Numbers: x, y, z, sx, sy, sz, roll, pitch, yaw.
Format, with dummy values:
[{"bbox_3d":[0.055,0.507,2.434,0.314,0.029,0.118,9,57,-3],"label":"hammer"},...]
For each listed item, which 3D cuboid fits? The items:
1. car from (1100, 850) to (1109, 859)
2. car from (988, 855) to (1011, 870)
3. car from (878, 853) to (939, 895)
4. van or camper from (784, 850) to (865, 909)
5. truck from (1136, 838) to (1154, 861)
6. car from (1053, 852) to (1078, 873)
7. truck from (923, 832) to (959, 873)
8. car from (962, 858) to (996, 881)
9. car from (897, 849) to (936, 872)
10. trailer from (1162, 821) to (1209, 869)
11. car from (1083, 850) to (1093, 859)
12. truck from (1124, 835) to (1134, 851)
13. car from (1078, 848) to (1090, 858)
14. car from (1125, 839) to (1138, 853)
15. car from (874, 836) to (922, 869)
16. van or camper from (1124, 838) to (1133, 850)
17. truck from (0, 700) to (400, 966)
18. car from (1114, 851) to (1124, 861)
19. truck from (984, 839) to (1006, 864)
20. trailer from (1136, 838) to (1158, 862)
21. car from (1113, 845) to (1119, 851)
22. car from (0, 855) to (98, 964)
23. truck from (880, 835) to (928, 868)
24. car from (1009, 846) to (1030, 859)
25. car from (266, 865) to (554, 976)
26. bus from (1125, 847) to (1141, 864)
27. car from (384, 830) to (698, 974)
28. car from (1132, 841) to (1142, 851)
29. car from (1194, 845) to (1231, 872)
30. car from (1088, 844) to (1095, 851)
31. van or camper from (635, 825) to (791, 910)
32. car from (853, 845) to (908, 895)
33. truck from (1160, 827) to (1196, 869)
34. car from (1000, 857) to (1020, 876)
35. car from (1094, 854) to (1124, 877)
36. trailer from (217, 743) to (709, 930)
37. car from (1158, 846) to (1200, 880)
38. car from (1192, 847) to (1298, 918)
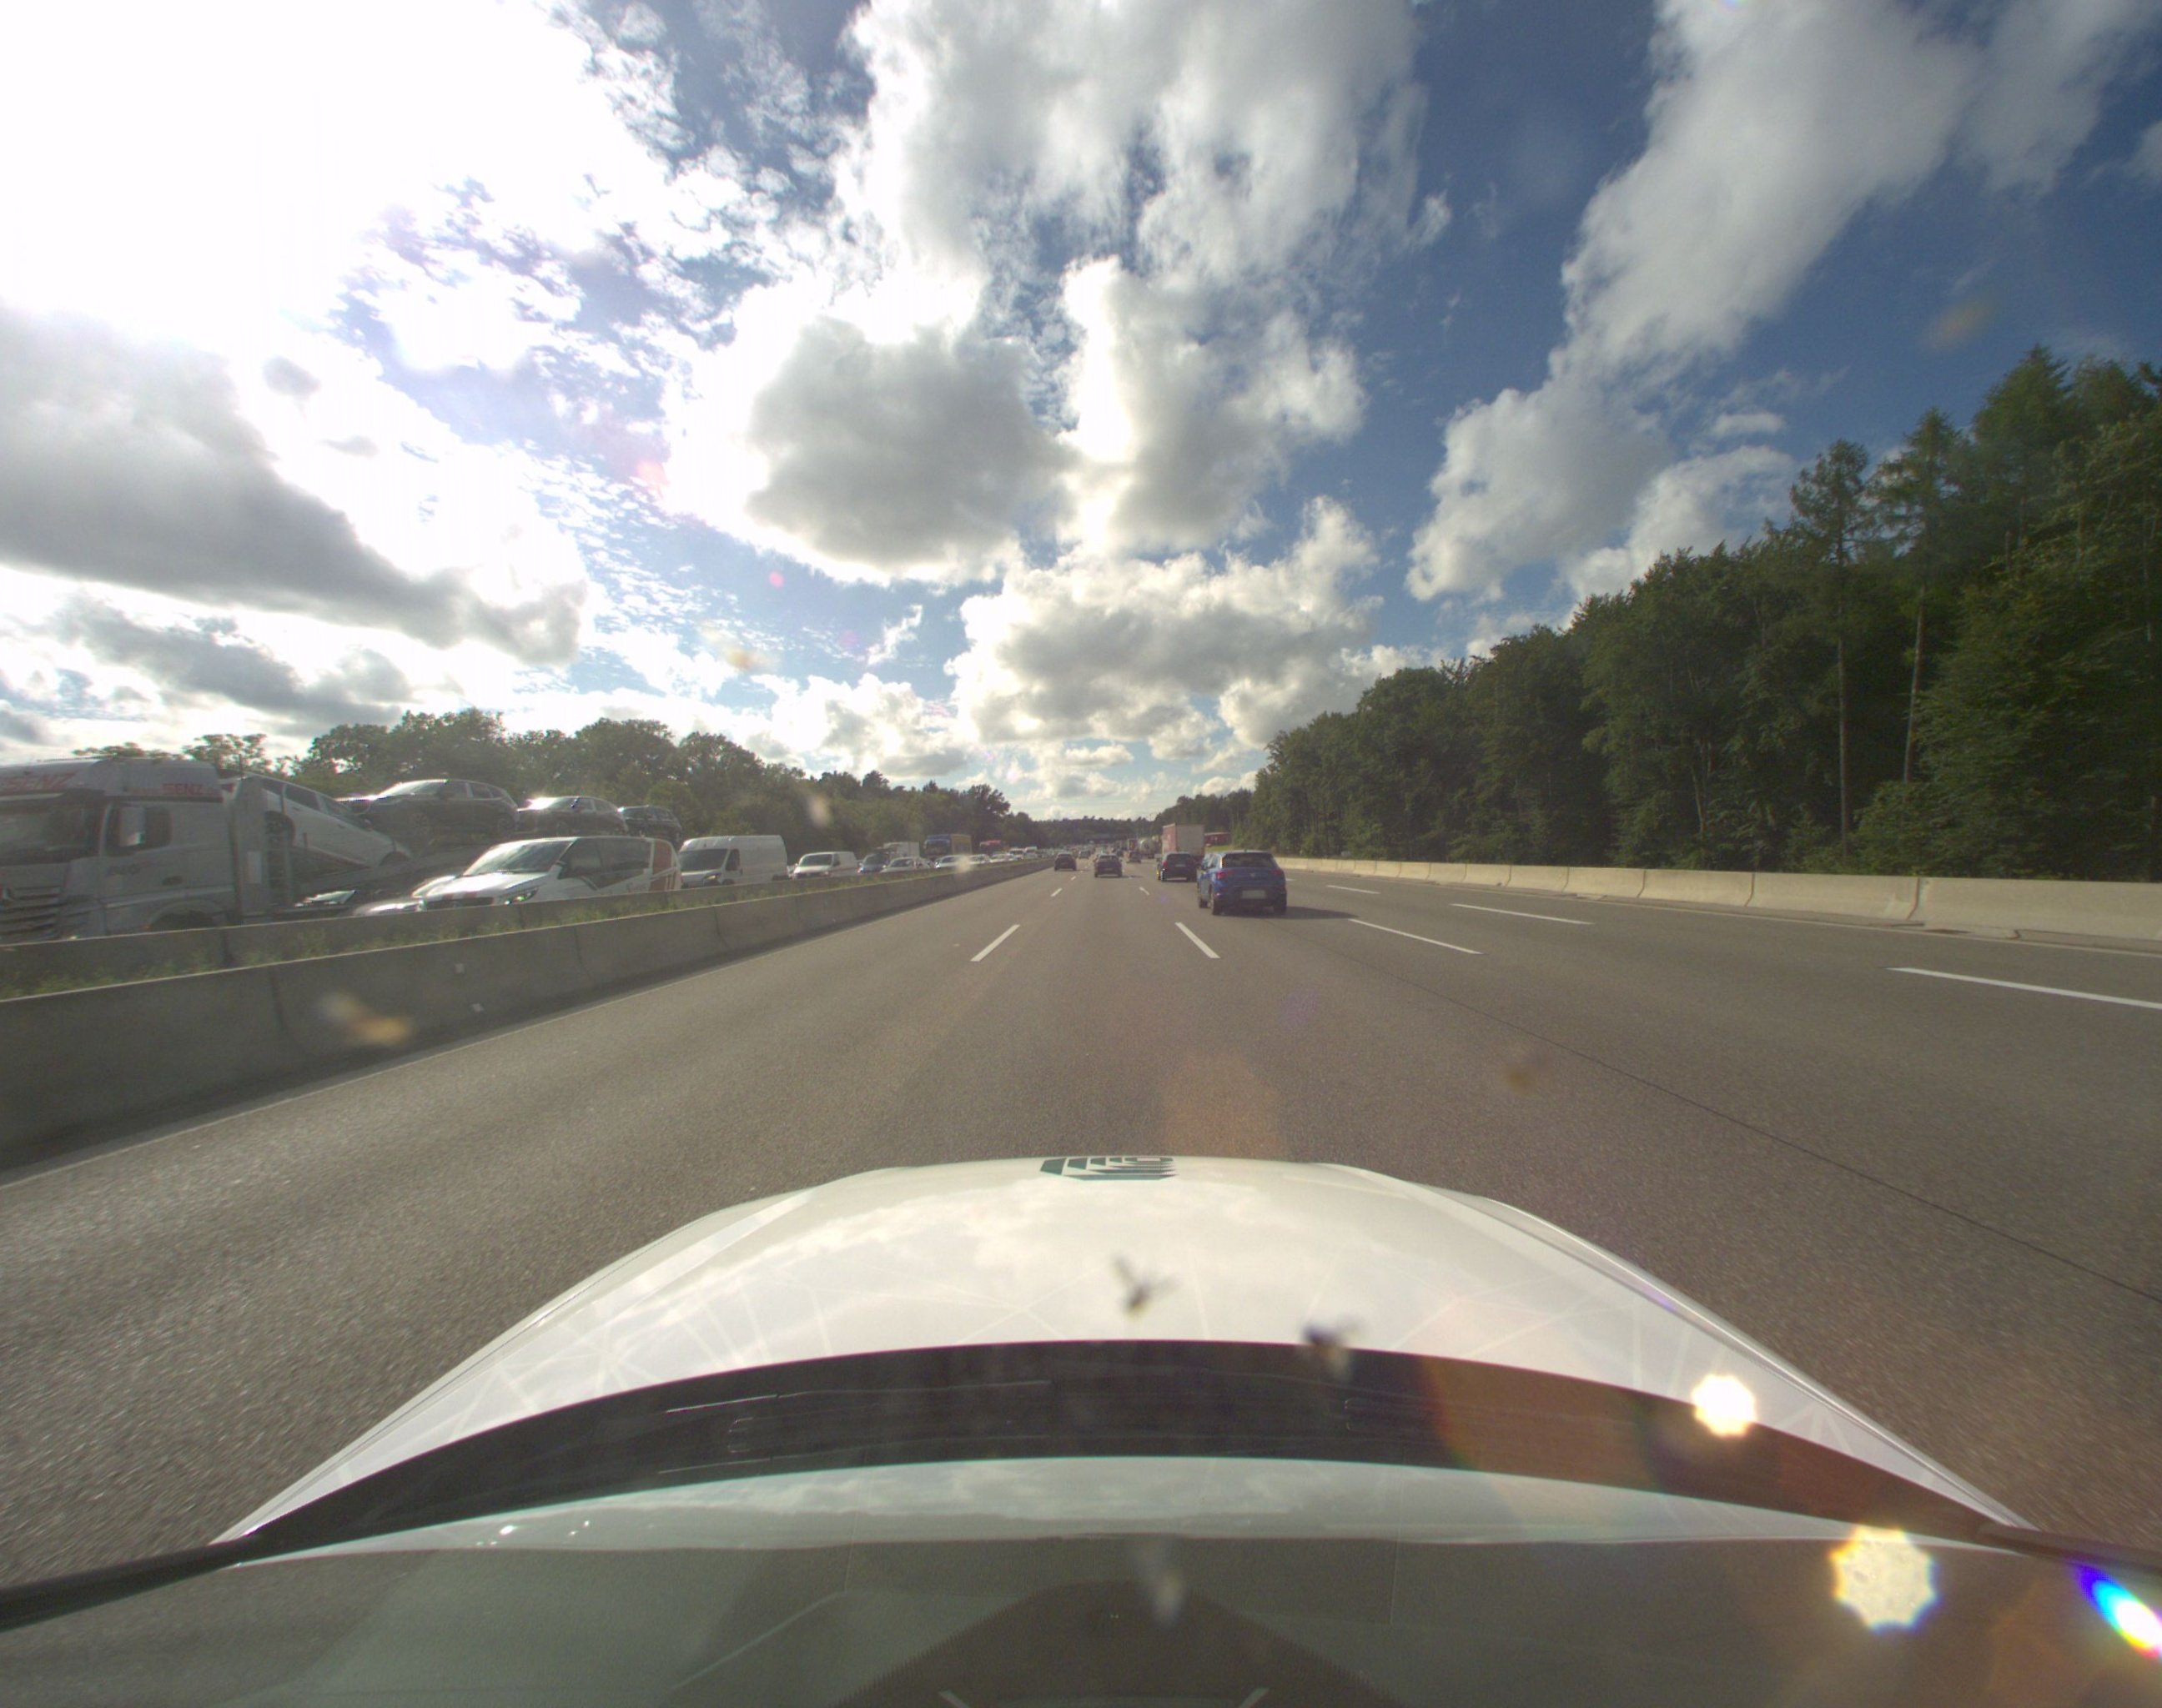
[{"bbox_3d":[5.468,0.065,187.338,1.986,2.014,4.001,-2,-1,1],"label":"car"},{"bbox_3d":[-7.731,0.797,77.264,1.751,1.377,4.000,-1,0,1],"label":"car"},{"bbox_3d":[-8.768,1.011,41.825,1.986,2.014,4.411,-2,-1,2],"label":"car"},{"bbox_3d":[-12.715,1.235,40.790,2.037,2.711,5.753,-1,-1,2],"label":"van or camper"},{"bbox_3d":[11.907,-0.720,152.636,3.034,4.160,7.129,-1,0,2],"label":"truck"},{"bbox_3d":[-1.363,0.759,72.459,1.986,1.776,4.002,-1,0,2],"label":"car"},{"bbox_3d":[-14.938,-0.118,87.347,2.726,4.148,5.617,-1,-1,1],"label":"truck"},{"bbox_3d":[-7.943,1.169,63.917,1.986,1.743,4.296,0,0,1],"label":"car"},{"bbox_3d":[-12.205,0.473,60.770,1.793,1.632,4.664,1,0,2],"label":"car"},{"bbox_3d":[9.657,-0.662,76.836,3.027,4.035,13.893,-1,-1,1],"label":"trailer"},{"bbox_3d":[1.623,0.098,187.305,1.986,2.013,4.001,-1,0,1],"label":"car"},{"bbox_3d":[12.169,-2.781,206.926,2.348,3.572,11.273,-1,-1,3],"label":"truck"},{"bbox_3d":[0.508,-0.225,154.538,2.146,1.776,4.002,0,0,2],"label":"car"},{"bbox_3d":[11.799,-1.878,190.000,2.855,2.991,5.152,-1,-1,3],"label":"car"},{"bbox_3d":[-11.797,-0.033,52.839,1.987,2.014,4.657,-1,-1,1],"label":"car"},{"bbox_3d":[12.504,-2.601,213.938,2.342,3.144,5.714,-1,-1,3],"label":"van or camper"},{"bbox_3d":[-17.122,-0.331,15.853,2.843,4.234,5.714,0,0,1],"label":"truck"},{"bbox_3d":[7.945,0.417,171.456,1.986,2.014,4.001,0,0,1],"label":"car"},{"bbox_3d":[-13.960,-0.350,132.695,2.766,3.938,6.853,-1,0,0],"label":"truck"},{"bbox_3d":[11.737,-0.693,145.371,3.025,4.016,12.247,-1,-1,1],"label":"trailer"},{"bbox_3d":[10.779,-1.856,250.602,1.986,2.013,4.001,0,0,1],"label":"car"},{"bbox_3d":[-13.191,0.633,7.855,1.825,1.230,4.567,-1,0,1],"label":"car"},{"bbox_3d":[-15.770,-0.238,73.084,2.320,2.801,7.951,0,0,1],"label":"truck"},{"bbox_3d":[-7.023,-0.143,93.162,1.843,1.354,5.488,-1,-1,1],"label":"car"},{"bbox_3d":[-13.414,1.209,16.773,1.904,1.876,4.698,-1,0,2],"label":"car"},{"bbox_3d":[6.640,0.212,104.219,1.986,2.014,4.001,-1,-1,2],"label":"bus"},{"bbox_3d":[-9.254,0.758,14.724,1.986,2.100,5.280,-1,-1,2],"label":"car"},{"bbox_3d":[12.334,-1.822,180.003,1.986,2.014,4.001,-1,-1,1],"label":"car"},{"bbox_3d":[8.104,0.284,50.576,1.709,1.511,4.303,-2,0,2],"label":"car"},{"bbox_3d":[2.982,-1.817,225.544,1.986,2.013,4.001,0,0,1],"label":"car"},{"bbox_3d":[-12.987,0.532,29.449,2.382,2.711,6.633,-1,-2,2],"label":"van or camper"},{"bbox_3d":[-12.535,0.972,51.187,1.986,2.963,5.404,0,0,1],"label":"car"},{"bbox_3d":[9.849,-0.546,83.419,3.069,4.063,6.071,-1,-1,1],"label":"truck"},{"bbox_3d":[-7.377,1.300,84.618,1.681,1.816,4.296,-1,-1,1],"label":"car"},{"bbox_3d":[1.728,0.696,51.627,1.728,1.365,3.999,0,0,0],"label":"car"},{"bbox_3d":[-16.923,-0.341,25.468,2.820,3.975,16.010,-1,0,1],"label":"trailer"},{"bbox_3d":[4.947,0.465,41.699,1.792,1.644,4.002,0,0,2],"label":"car"},{"bbox_3d":[4.061,0.638,20.921,1.916,1.541,4.648,-3,0,3],"label":"car"}]
